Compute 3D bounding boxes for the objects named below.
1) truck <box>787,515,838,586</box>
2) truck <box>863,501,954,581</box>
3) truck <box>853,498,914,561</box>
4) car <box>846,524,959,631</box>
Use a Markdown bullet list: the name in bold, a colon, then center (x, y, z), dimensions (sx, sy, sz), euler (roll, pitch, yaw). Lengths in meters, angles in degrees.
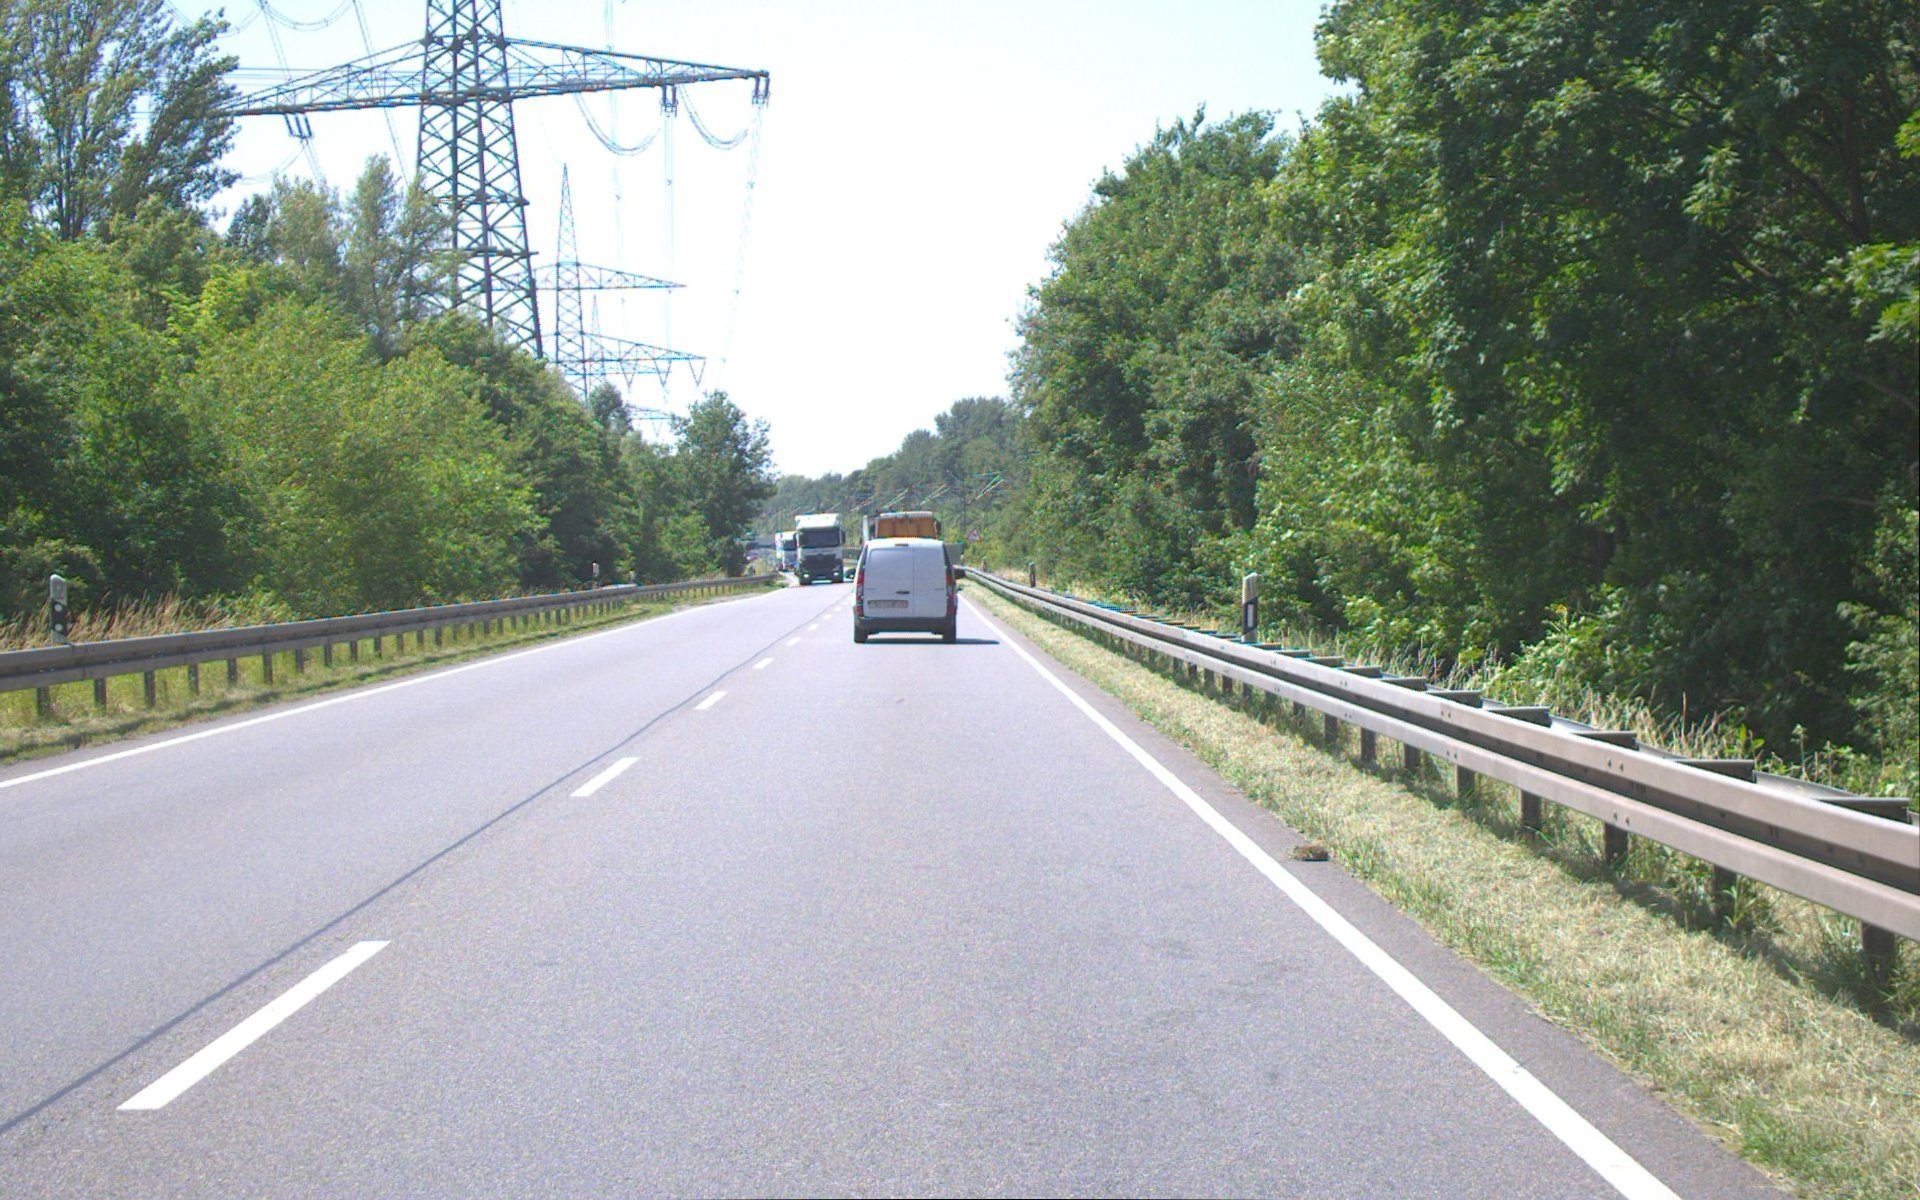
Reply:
- **truck**: center (-8.473, -2.823, 197.596), dimensions (2.763, 3.985, 5.907), euler (0, 1, -1)
- **truck**: center (-2.308, -2.589, 146.485), dimensions (3.296, 3.161, 14.407), euler (0, 2, -3)
- **truck**: center (-4.992, -4.604, 221.543), dimensions (3.402, 3.841, 16.821), euler (0, 2, -3)
- **car**: center (-1.001, -0.422, 59.499), dimensions (1.875, 1.735, 4.001), euler (0, 2, -1)
